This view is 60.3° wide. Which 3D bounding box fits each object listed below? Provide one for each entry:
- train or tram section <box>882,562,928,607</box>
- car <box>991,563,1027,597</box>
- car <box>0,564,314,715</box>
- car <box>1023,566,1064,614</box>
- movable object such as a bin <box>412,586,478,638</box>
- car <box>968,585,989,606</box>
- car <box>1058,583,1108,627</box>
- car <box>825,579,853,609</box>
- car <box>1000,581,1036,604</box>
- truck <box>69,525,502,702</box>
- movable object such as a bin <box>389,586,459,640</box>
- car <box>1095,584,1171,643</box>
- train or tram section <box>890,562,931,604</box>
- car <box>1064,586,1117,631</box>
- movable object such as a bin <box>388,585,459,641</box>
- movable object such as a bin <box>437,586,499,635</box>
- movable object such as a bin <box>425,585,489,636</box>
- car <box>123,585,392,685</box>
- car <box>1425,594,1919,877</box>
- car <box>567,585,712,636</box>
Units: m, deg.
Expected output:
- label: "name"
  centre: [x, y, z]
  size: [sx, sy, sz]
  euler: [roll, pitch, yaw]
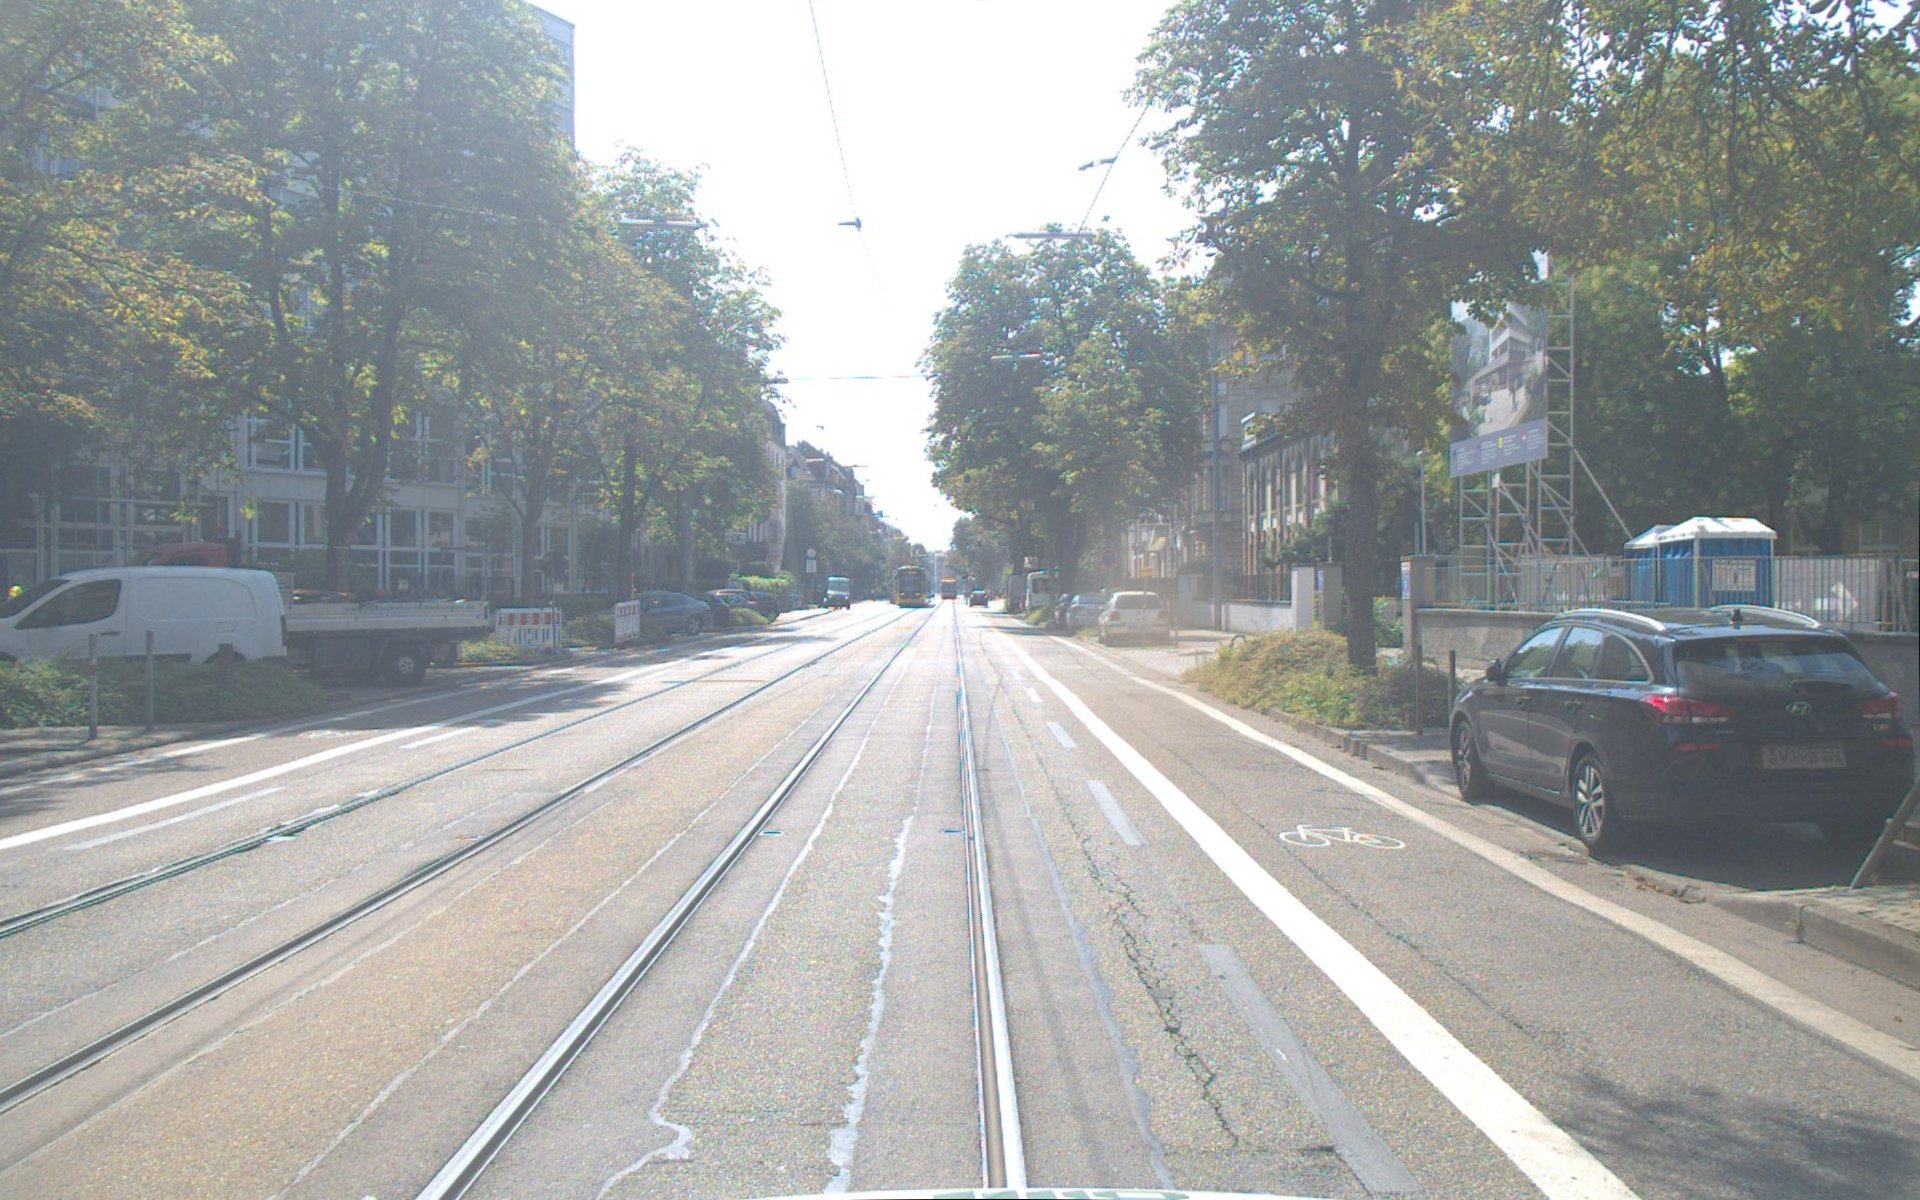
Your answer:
- label: "train or tram section"
  centre: [-4.757, -1.429, 145.523]
  size: [3.425, 3.768, 12.414]
  euler: [0, 1, 1]
- label: "car"
  centre: [3.347, -1.366, 113.417]
  size: [1.955, 2.272, 3.996]
  euler: [-1, 1, -5]
- label: "car"
  centre: [-10.918, 0.444, 21.633]
  size: [4.252, 1.802, 1.796]
  euler: [-1, 1, -44]
- label: "car"
  centre: [4.325, -0.530, 86.271]
  size: [1.953, 2.407, 4.000]
  euler: [0, 1, 0]
- label: "movable object such as a bin"
  centre: [-16.107, 0.357, 51.759]
  size: [1.649, 1.586, 1.354]
  euler: [-1, 0, -2]
- label: "car"
  centre: [1.706, -0.435, 153.073]
  size: [1.953, 1.832, 4.000]
  euler: [0, 1, 0]
- label: "car"
  centre: [4.764, 0.164, 64.449]
  size: [1.757, 1.604, 4.001]
  euler: [0, 1, 1]
- label: "car"
  centre: [-9.935, -0.519, 136.001]
  size: [2.198, 2.484, 3.997]
  euler: [0, 1, -4]
- label: "car"
  centre: [3.710, -0.525, 106.553]
  size: [1.954, 1.422, 3.998]
  euler: [0, 1, -3]
- label: "truck"
  centre: [-10.382, 0.133, 25.813]
  size: [5.912, 2.477, 2.120]
  euler: [-1, 1, -40]
- label: "movable object such as a bin"
  centre: [-16.189, 0.382, 50.009]
  size: [1.649, 1.586, 1.354]
  euler: [-1, 0, -2]
- label: "car"
  centre: [4.644, 0.329, 44.833]
  size: [1.754, 1.471, 3.734]
  euler: [-1, 1, 2]
- label: "train or tram section"
  centre: [-4.641, -1.688, 157.929]
  size: [3.425, 3.768, 12.414]
  euler: [0, 1, 1]
- label: "car"
  centre: [4.592, 0.275, 58.518]
  size: [1.607, 1.538, 3.641]
  euler: [0, 0, 0]
- label: "movable object such as a bin"
  centre: [-15.738, 0.376, 48.580]
  size: [1.649, 1.586, 1.354]
  euler: [-1, 0, -2]
- label: "movable object such as a bin"
  centre: [-16.279, 0.334, 54.789]
  size: [1.649, 1.586, 1.354]
  euler: [-1, 0, -2]
- label: "movable object such as a bin"
  centre: [-16.194, 0.337, 53.316]
  size: [1.649, 1.586, 1.354]
  euler: [-1, 0, -2]
- label: "car"
  centre: [-11.781, 0.543, 27.878]
  size: [3.831, 1.534, 1.693]
  euler: [-1, 1, -44]
- label: "car"
  centre: [4.735, 0.744, 11.548]
  size: [1.640, 1.483, 4.664]
  euler: [-1, 1, 0]
- label: "car"
  centre: [-10.573, 0.306, 54.795]
  size: [1.647, 1.477, 4.659]
  euler: [0, 2, 43]
